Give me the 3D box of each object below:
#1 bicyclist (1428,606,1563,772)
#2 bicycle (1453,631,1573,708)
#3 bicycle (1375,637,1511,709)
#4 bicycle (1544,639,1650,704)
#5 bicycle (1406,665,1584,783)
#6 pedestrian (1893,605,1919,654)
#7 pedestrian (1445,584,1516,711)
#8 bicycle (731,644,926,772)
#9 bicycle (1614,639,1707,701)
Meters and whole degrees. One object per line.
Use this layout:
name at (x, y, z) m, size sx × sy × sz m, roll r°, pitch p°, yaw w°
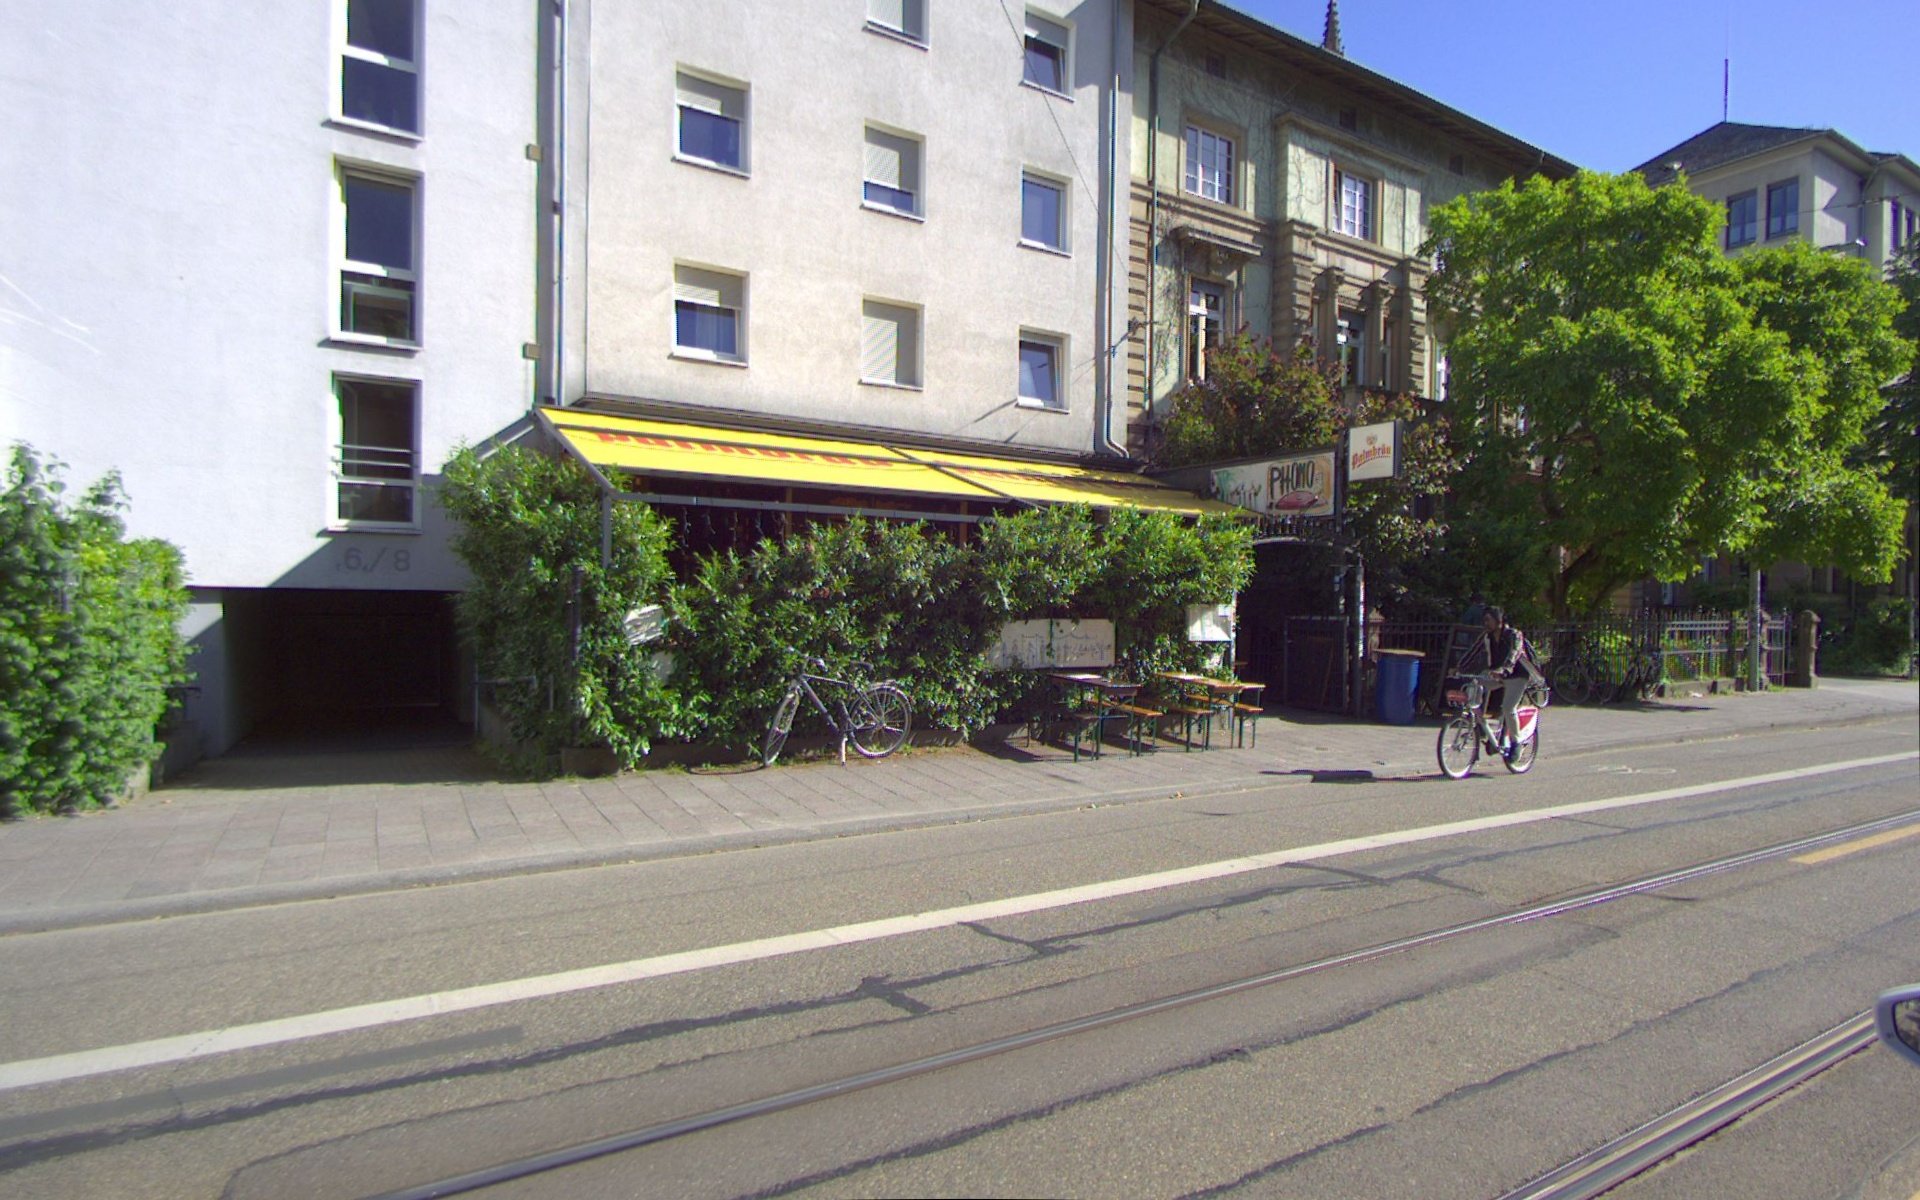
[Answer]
bicyclist at (5.545, 0.890, 10.403) m, size 1.104 × 1.620 × 0.742 m, roll 1°, pitch -2°, yaw -30°
bicycle at (9.037, 1.128, 16.404) m, size 1.878 × 1.159 × 0.644 m, roll 1°, pitch 3°, yaw -23°
bicycle at (7.655, 1.153, 15.924) m, size 1.988 × 1.059 × 0.637 m, roll 1°, pitch 1°, yaw -15°
bicycle at (11.191, 1.242, 17.635) m, size 1.878 × 1.059 × 0.588 m, roll 1°, pitch 2°, yaw -23°
bicycle at (5.545, 1.235, 10.393) m, size 1.876 × 1.096 × 0.742 m, roll 1°, pitch -3°, yaw -30°
pedestrian at (36.871, 1.134, 38.921) m, size 0.770 × 1.821 × 0.726 m, roll 1°, pitch 3°, yaw -28°
pedestrian at (7.784, 0.701, 15.039) m, size 0.677 × 1.856 × 0.576 m, roll 1°, pitch 1°, yaw -12°
bicycle at (-1.248, 0.994, 9.655) m, size 1.722 × 1.073 × 0.635 m, roll 1°, pitch 3°, yaw -30°
bicycle at (12.998, 1.287, 18.631) m, size 1.881 × 1.059 × 0.587 m, roll 1°, pitch 2°, yaw -28°
